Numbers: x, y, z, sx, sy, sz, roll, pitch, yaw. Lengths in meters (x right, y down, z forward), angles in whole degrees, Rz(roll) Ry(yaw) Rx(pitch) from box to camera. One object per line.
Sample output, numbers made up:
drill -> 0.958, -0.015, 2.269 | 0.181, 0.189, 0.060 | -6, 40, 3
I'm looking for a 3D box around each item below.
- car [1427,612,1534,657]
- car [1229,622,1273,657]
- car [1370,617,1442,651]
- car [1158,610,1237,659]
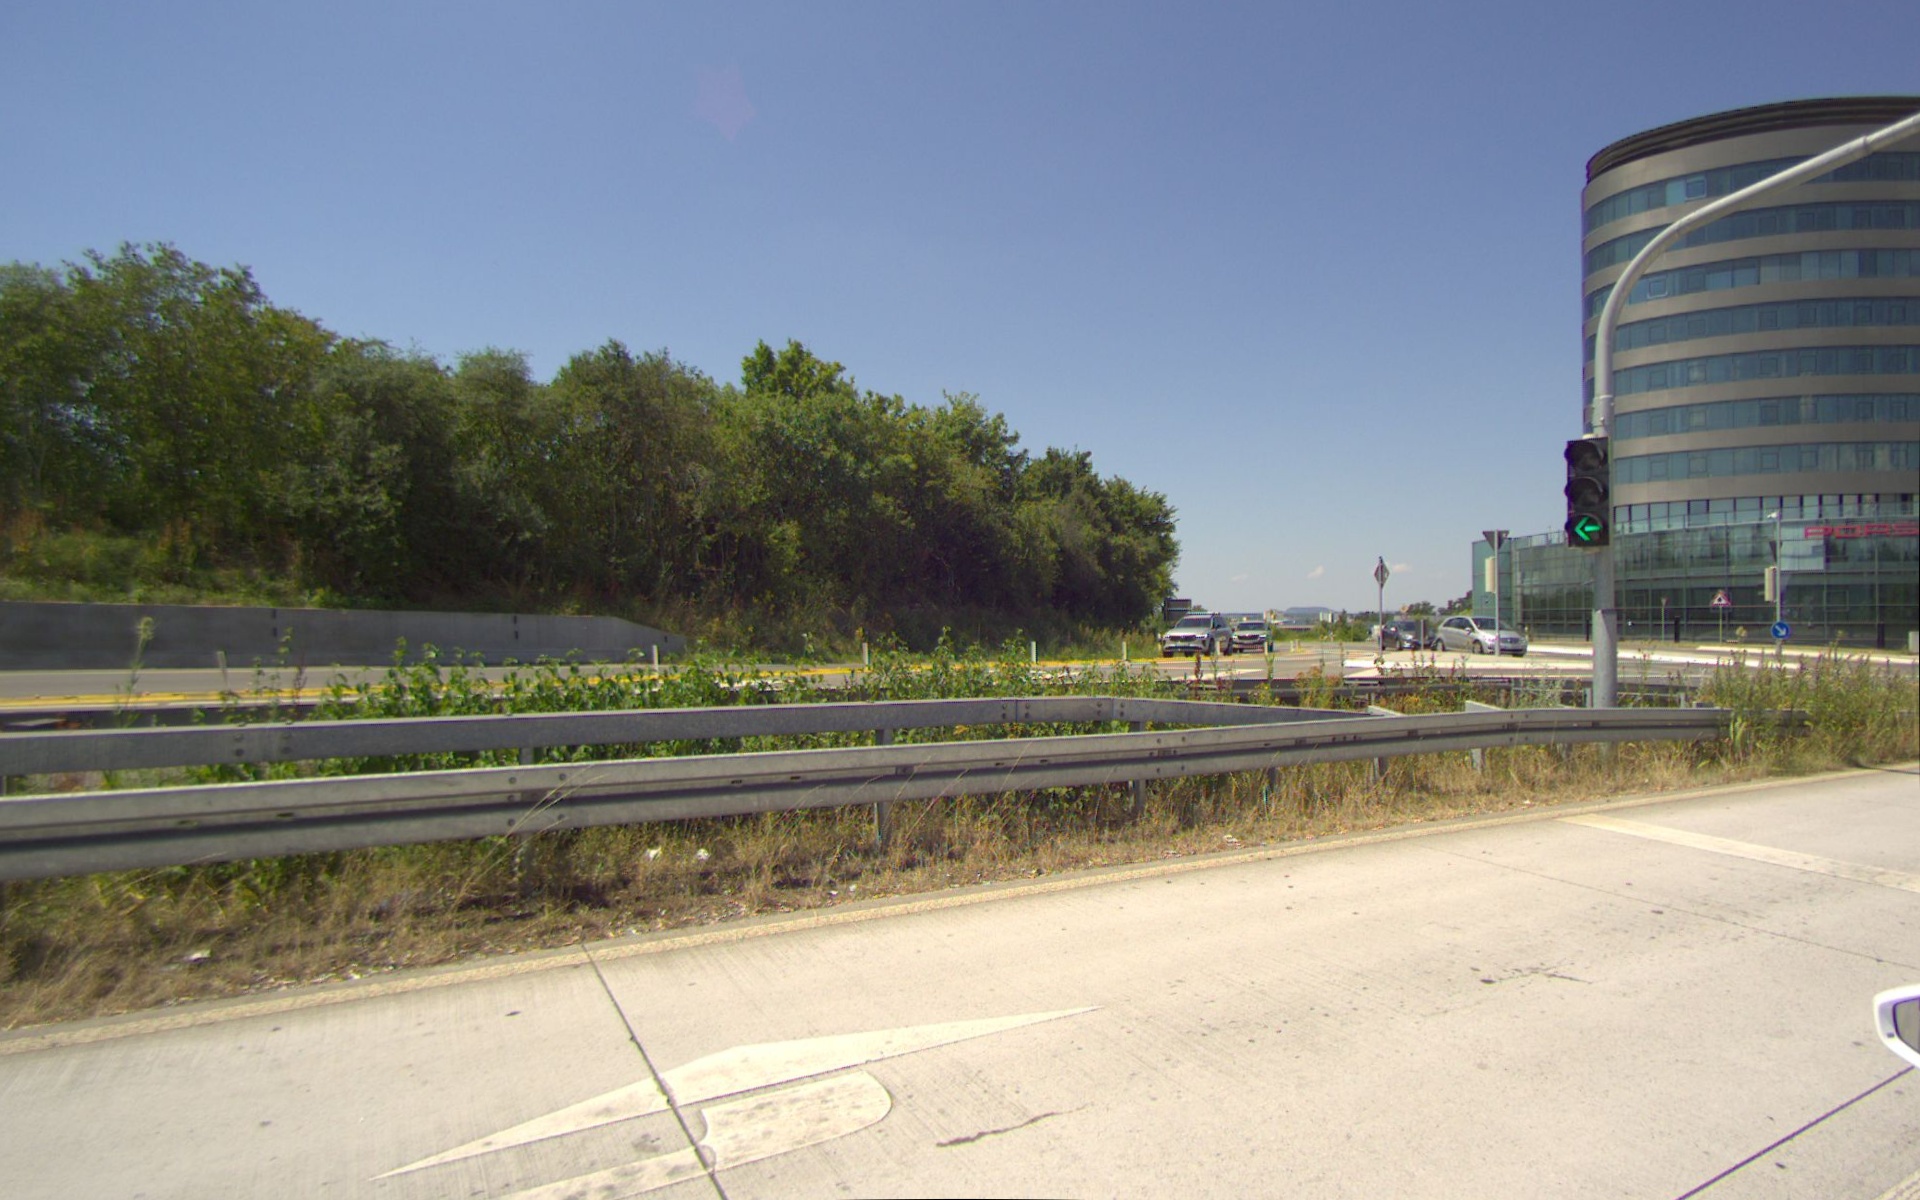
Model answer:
car -> 20.478, 1.378, 39.736 | 1.743, 1.616, 4.328 | 2, -2, -4
car -> 15.384, 2.037, 52.951 | 1.960, 1.715, 4.658 | 1, -1, 19
car -> 20.927, 1.599, 47.327 | 1.663, 1.475, 4.332 | 2, -2, 4
car -> 9.760, 1.373, 40.954 | 1.963, 1.796, 4.851 | 1, -1, 28
